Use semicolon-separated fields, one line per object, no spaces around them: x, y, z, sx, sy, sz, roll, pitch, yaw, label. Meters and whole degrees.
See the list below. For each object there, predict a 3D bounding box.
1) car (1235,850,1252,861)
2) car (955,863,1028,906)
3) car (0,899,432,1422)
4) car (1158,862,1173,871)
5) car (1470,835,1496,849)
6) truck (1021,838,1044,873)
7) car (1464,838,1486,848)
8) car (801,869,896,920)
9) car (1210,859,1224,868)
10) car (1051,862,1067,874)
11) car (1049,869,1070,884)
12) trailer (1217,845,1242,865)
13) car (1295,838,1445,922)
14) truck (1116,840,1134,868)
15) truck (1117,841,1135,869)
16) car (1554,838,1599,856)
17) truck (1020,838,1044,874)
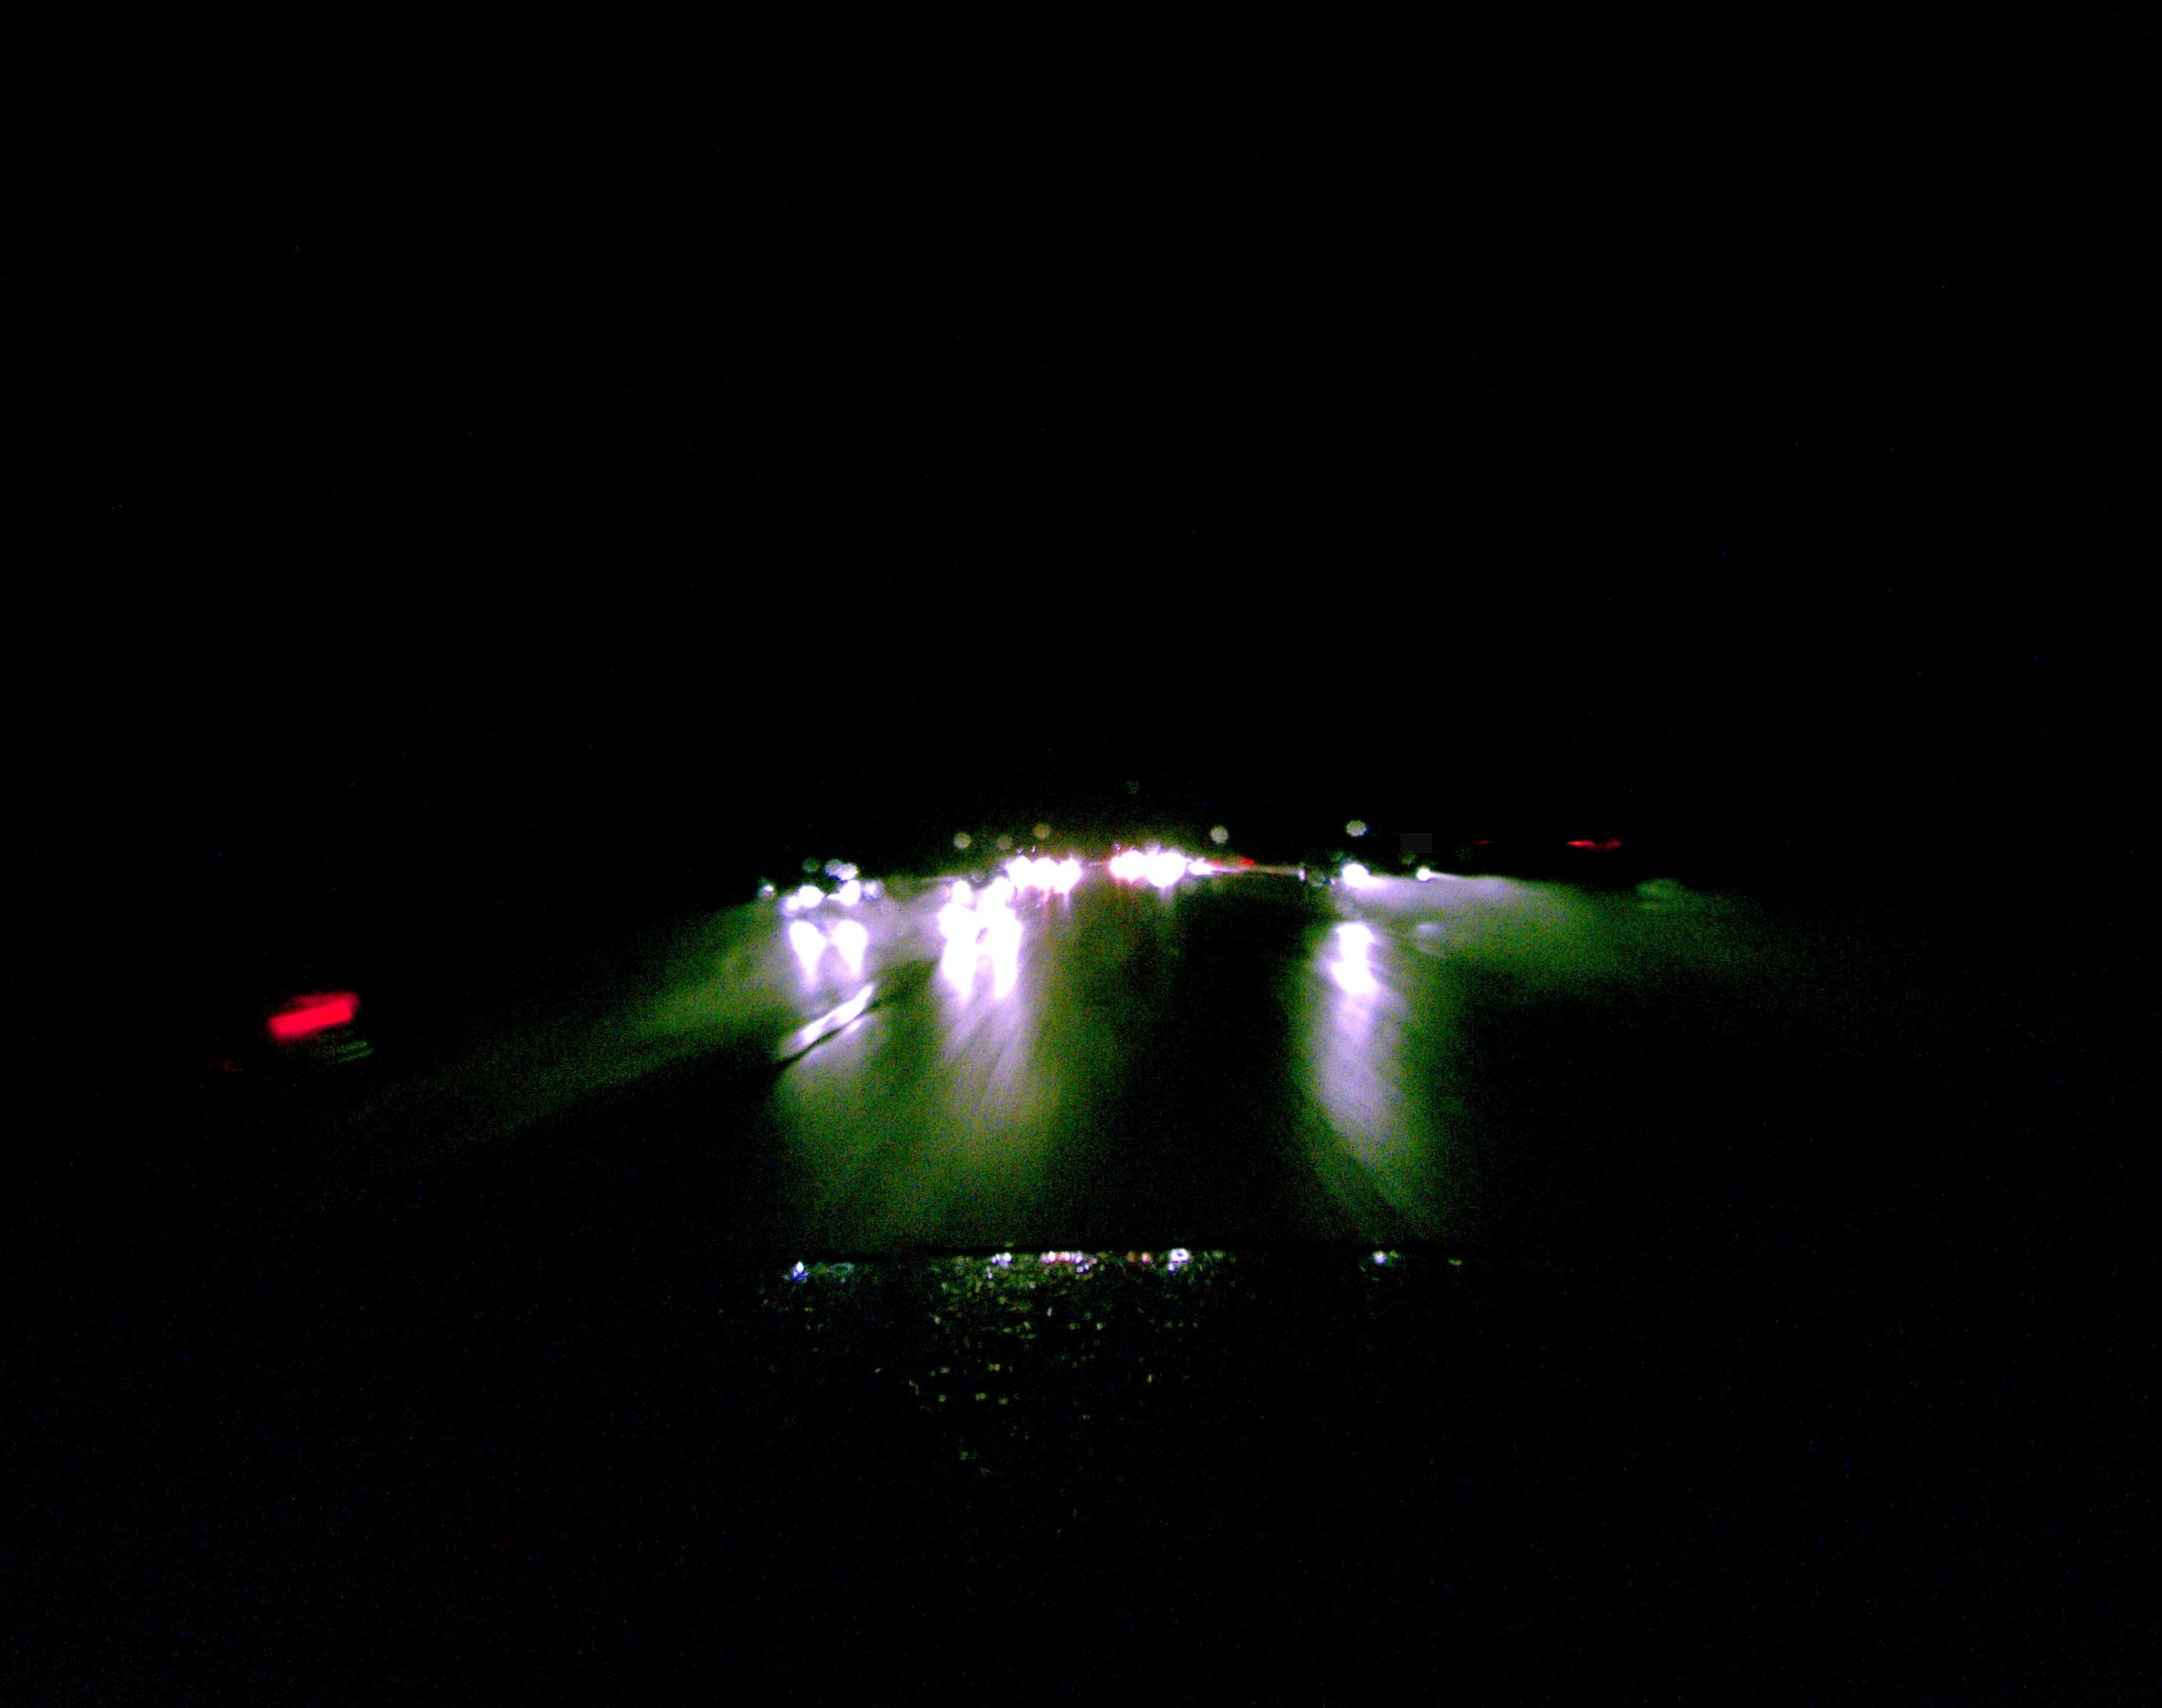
24.408;0.263;114.120;1.736;1.517;4.292;1;1;2;car
-3.397;1.127;29.651;1.998;1.440;4.337;-3;0;4;car
-4.348;1.019;1.359;2.063;1.510;5.015;-2;0;-1;car
11.958;1.745;107.157;1.711;1.286;3.992;0;-1;1;car
60.799;-1.811;114.963;1.997;1.921;4.688;-2;0;8;car
-6.272;0.008;99.699;2.766;4.199;13.819;1;1;-3;truck
55.265;-1.528;106.595;1.772;1.397;3.244;-2;0;11;car
-7.804;1.311;25.869;1.723;1.488;4.045;-3;0;3;car
25.428;1.709;142.105;1.844;1.517;4.292;1;1;2;car
-2.539;1.580;85.996;1.712;1.286;3.991;1;-1;-3;car
-1.938;1.968;68.137;1.712;1.286;3.991;1;-1;-3;car
30.935;0.118;158.921;2.819;3.976;13.929;1;1;2;trailer
7.339;0.532;20.049;2.141;1.874;5.555;-1;1;4;car
7.299;-0.101;127.368;2.503;4.224;13.640;1;1;2;truck
7.083;0.063;120.488;2.503;4.224;5.981;1;2;2;truck
51.085;-0.727;78.431;1.997;1.761;4.572;-2;0;7;car
-5.926;0.182;92.756;2.766;4.199;6.191;1;2;-3;truck
